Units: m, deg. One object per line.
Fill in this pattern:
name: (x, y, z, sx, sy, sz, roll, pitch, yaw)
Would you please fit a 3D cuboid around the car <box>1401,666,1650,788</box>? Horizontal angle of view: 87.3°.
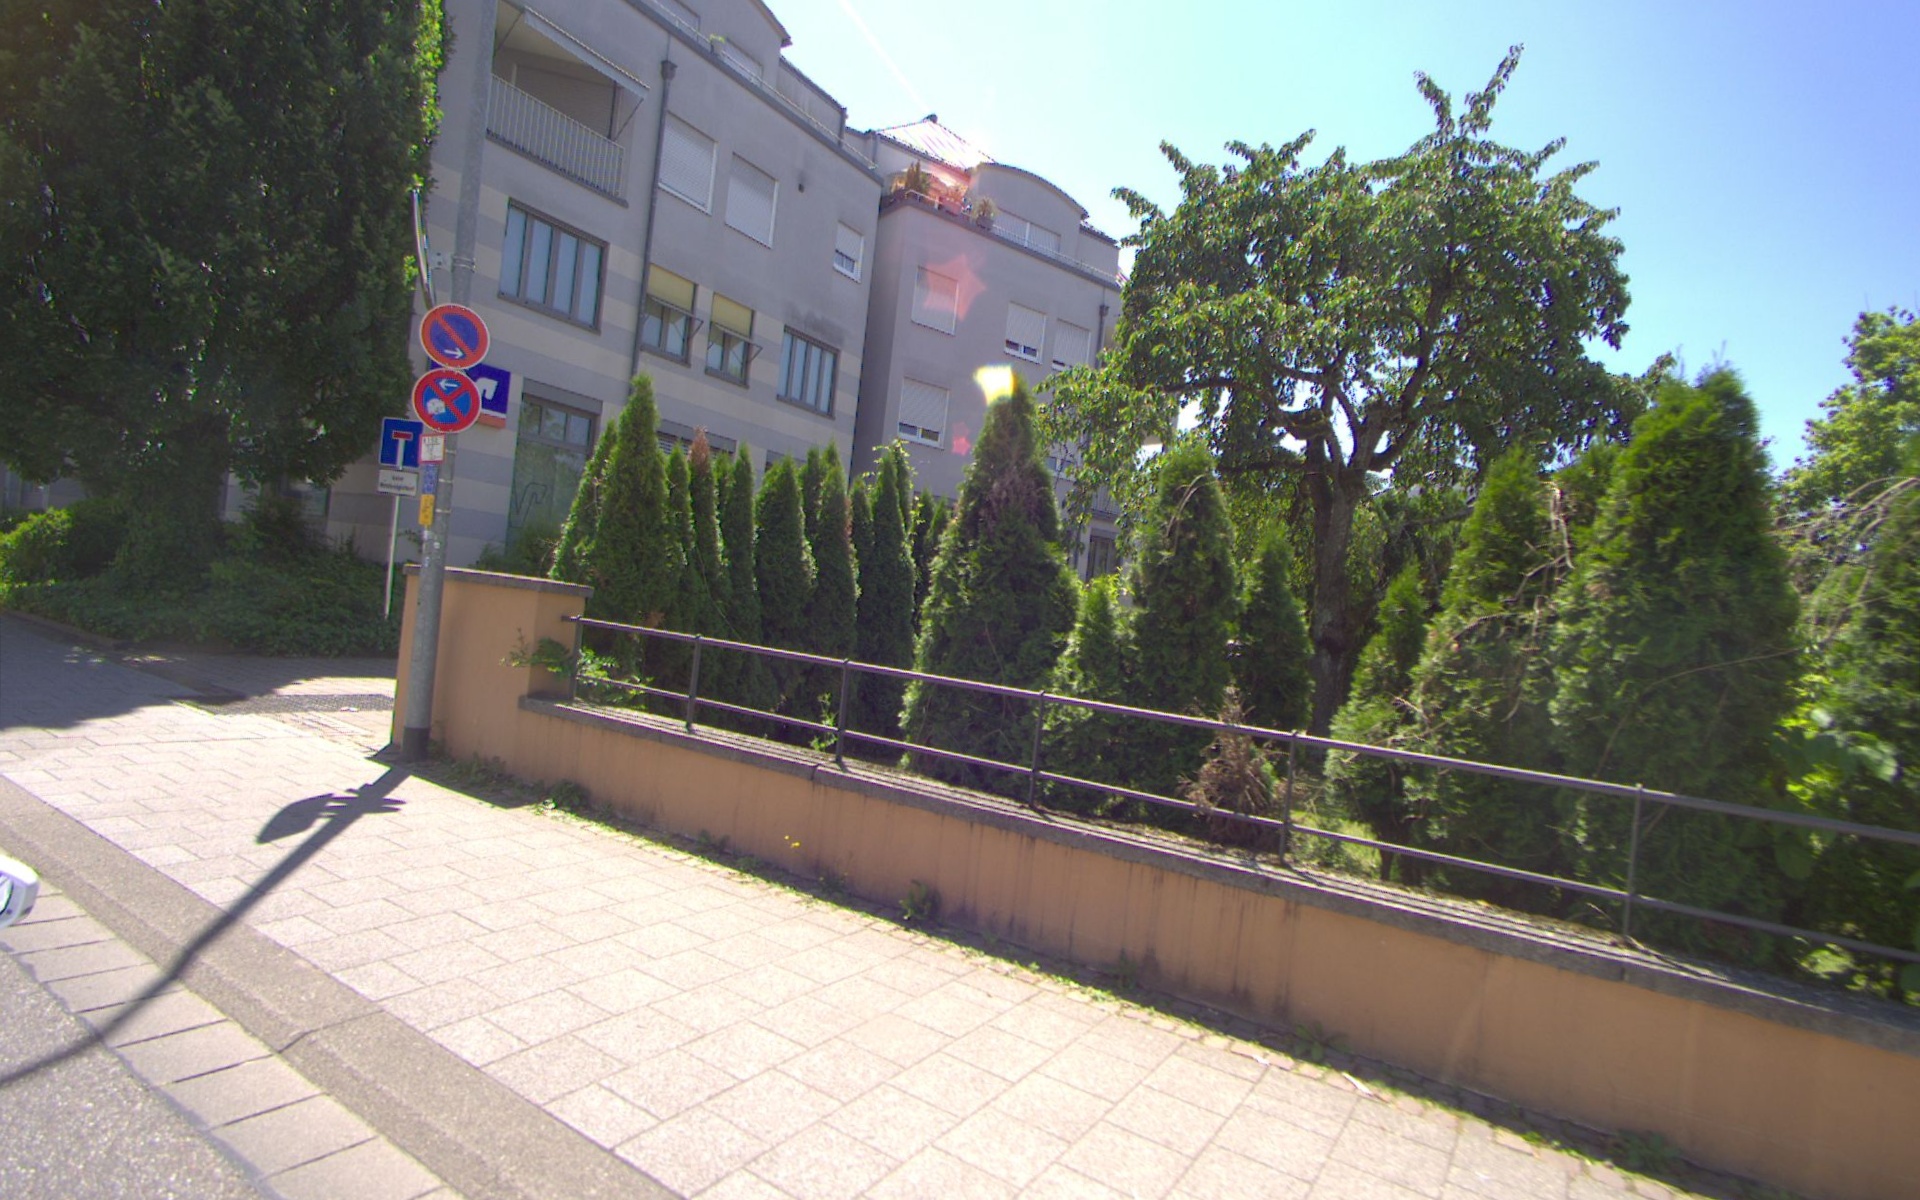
car: (9.550, 2.085, 17.252, 3.442, 1.477, 1.611, 7, 0, 27)
